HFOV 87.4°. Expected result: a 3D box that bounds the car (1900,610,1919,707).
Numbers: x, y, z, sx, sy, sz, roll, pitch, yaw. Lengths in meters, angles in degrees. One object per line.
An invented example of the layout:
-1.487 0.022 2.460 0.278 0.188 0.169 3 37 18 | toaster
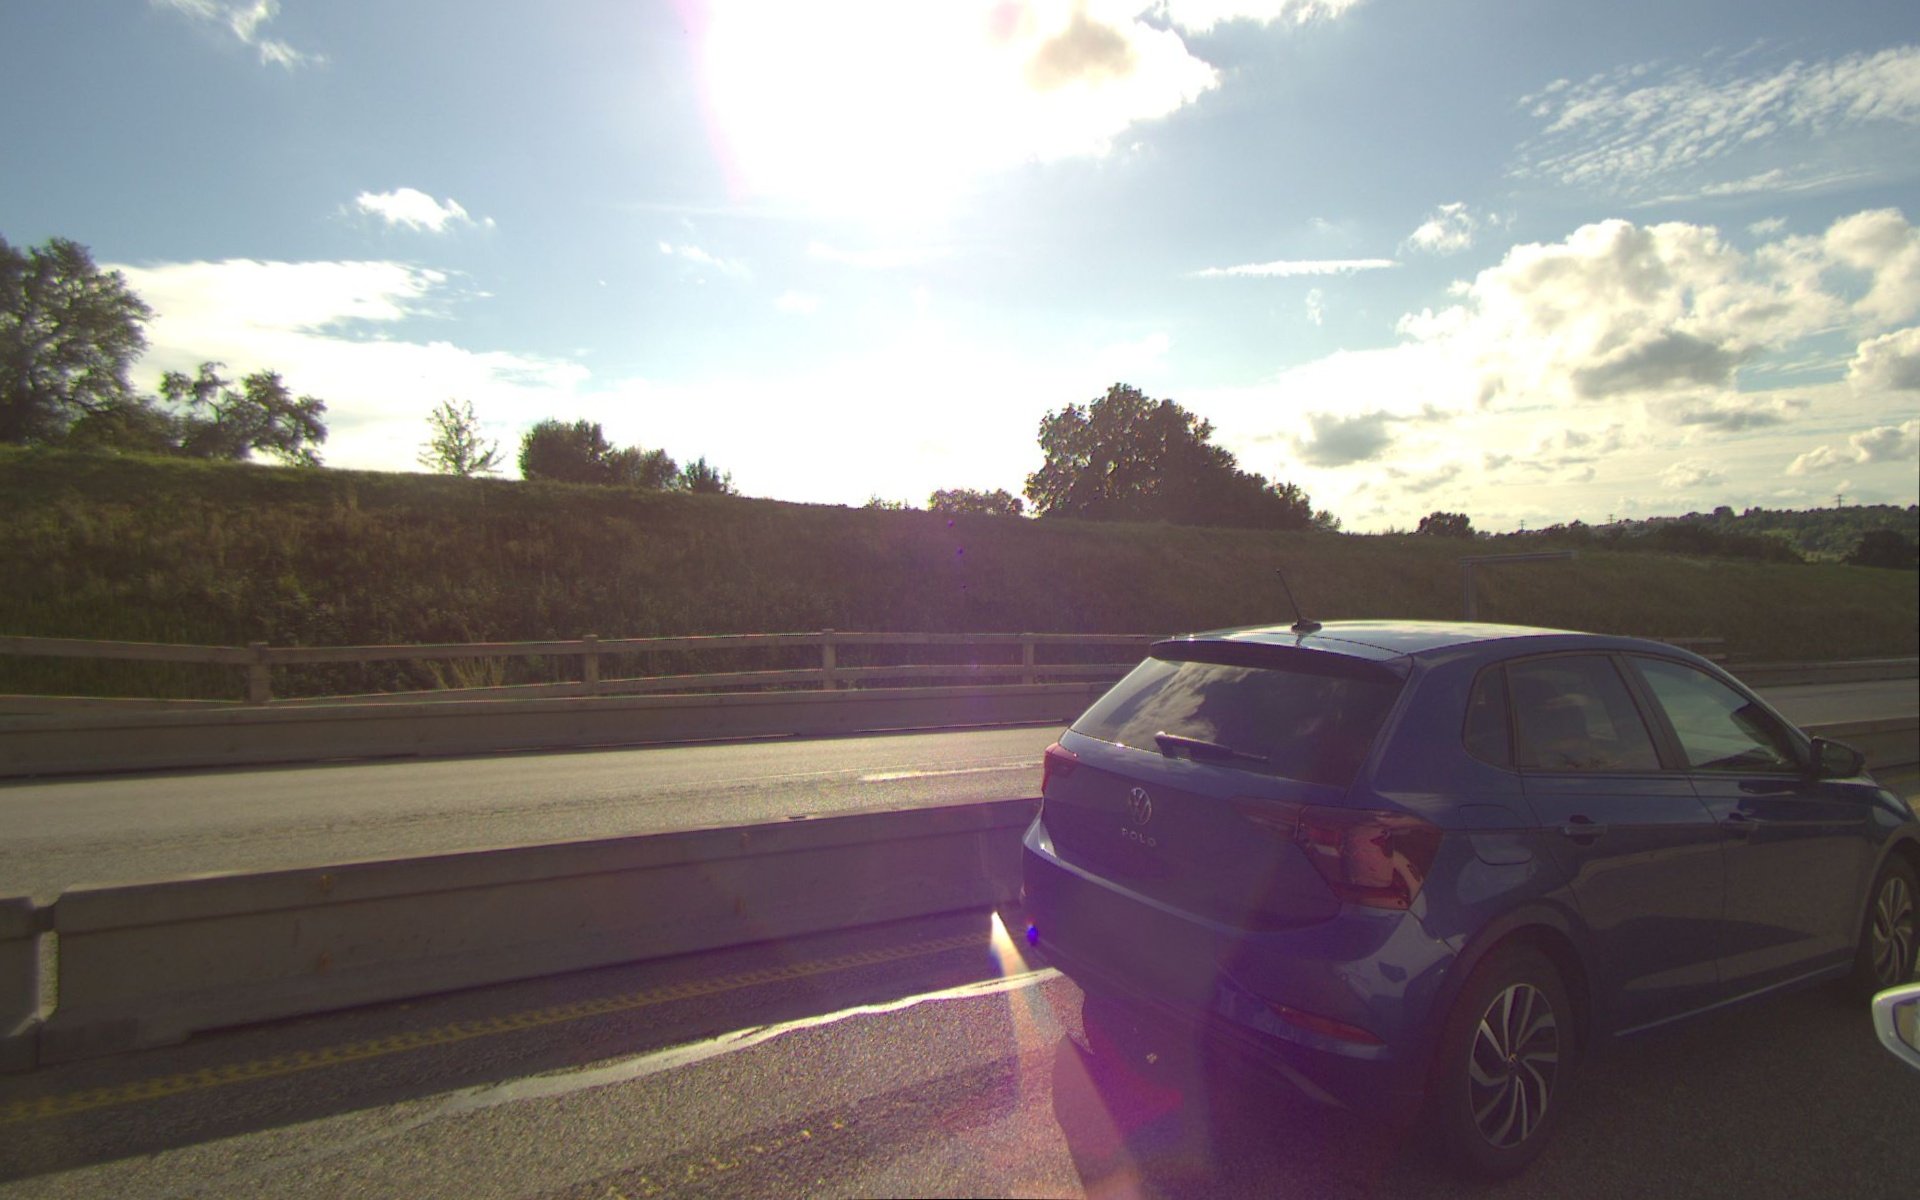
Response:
20.360 1.113 19.177 5.511 1.770 1.939 1 1 -29 | car

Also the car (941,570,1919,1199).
2.072 0.733 3.907 3.953 1.528 1.707 2 0 -30 | car
